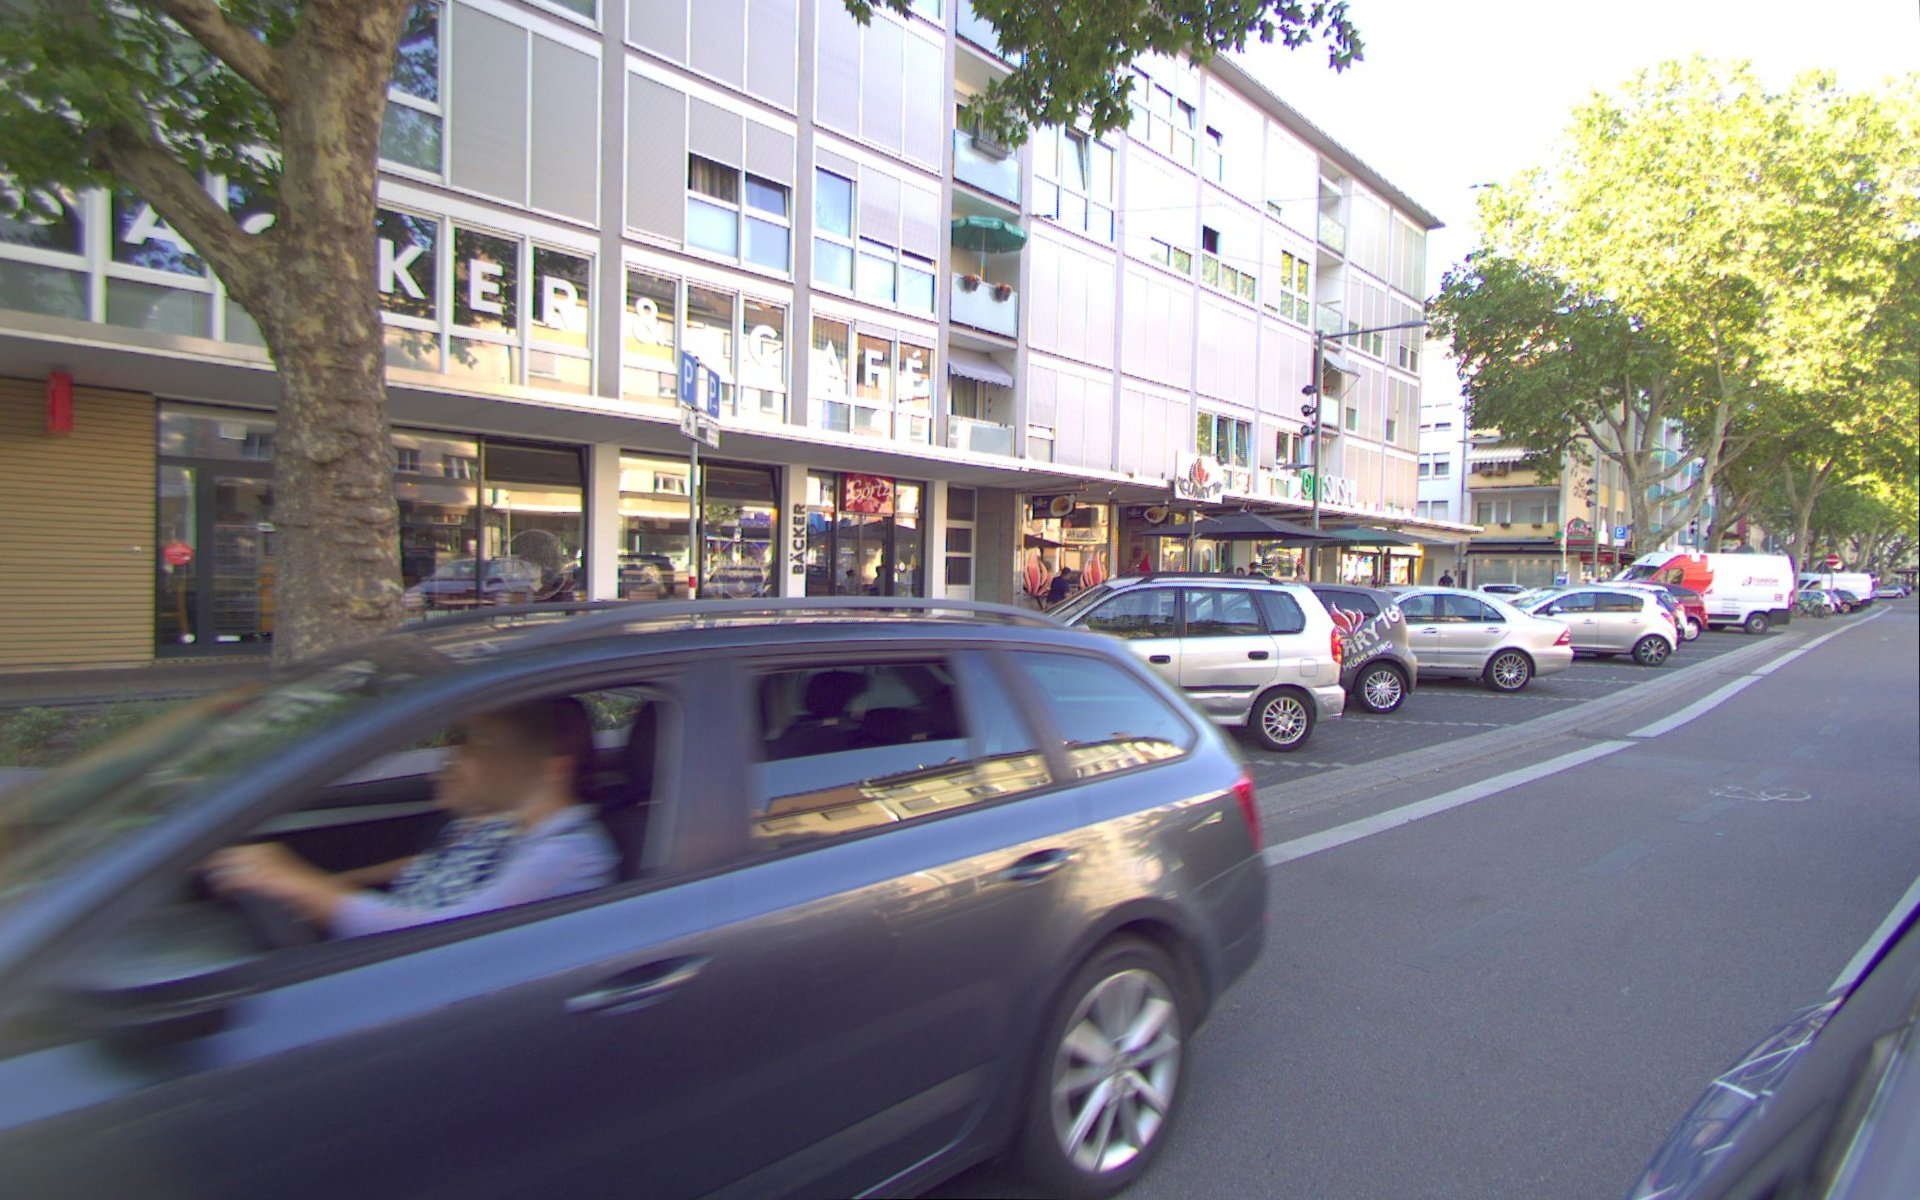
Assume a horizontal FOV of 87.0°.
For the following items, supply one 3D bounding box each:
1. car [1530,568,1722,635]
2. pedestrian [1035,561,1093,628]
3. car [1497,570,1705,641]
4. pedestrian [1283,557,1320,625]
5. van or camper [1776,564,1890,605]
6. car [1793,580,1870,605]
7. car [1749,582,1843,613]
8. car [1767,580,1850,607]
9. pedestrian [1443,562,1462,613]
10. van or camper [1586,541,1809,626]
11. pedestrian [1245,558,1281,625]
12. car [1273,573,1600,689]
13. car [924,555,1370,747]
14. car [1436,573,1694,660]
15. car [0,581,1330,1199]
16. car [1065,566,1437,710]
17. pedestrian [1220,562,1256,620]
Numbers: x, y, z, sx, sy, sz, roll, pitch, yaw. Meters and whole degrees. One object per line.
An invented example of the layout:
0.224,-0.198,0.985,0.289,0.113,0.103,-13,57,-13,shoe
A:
17.902,0.014,27.354,3.929,1.582,1.659,2,3,5,car
2.207,-0.135,21.438,0.945,1.379,0.750,0,2,-41,pedestrian
15.757,0.109,25.030,3.929,1.541,1.659,2,3,5,car
8.313,-0.220,24.608,0.537,1.610,0.676,5,4,44,pedestrian
56.125,-1.037,65.159,5.363,2.499,1.999,1,2,3,van or camper
53.832,-0.475,62.547,3.271,1.363,1.530,2,3,5,car
41.882,-0.151,50.750,3.271,1.363,1.530,2,3,5,car
48.458,-0.402,57.865,3.271,1.363,1.530,2,3,5,car
19.956,-0.500,41.007,0.569,2.039,0.549,0,0,16,pedestrian
23.333,-0.546,32.205,5.366,2.499,1.998,1,2,5,van or camper
7.556,-0.222,25.253,0.537,1.610,0.676,5,4,44,pedestrian
6.831,0.403,14.823,3.926,1.453,1.660,2,3,2,car
1.643,0.431,9.896,3.921,1.626,1.811,1,2,-3,car
11.751,0.284,19.872,3.929,1.453,1.659,2,3,5,car
-1.057,0.719,2.342,3.999,1.492,1.807,-1,0,-39,car
3.398,0.407,12.353,3.921,1.525,1.811,1,2,-3,car
7.019,-0.228,25.530,0.537,1.417,0.676,5,4,44,pedestrian
